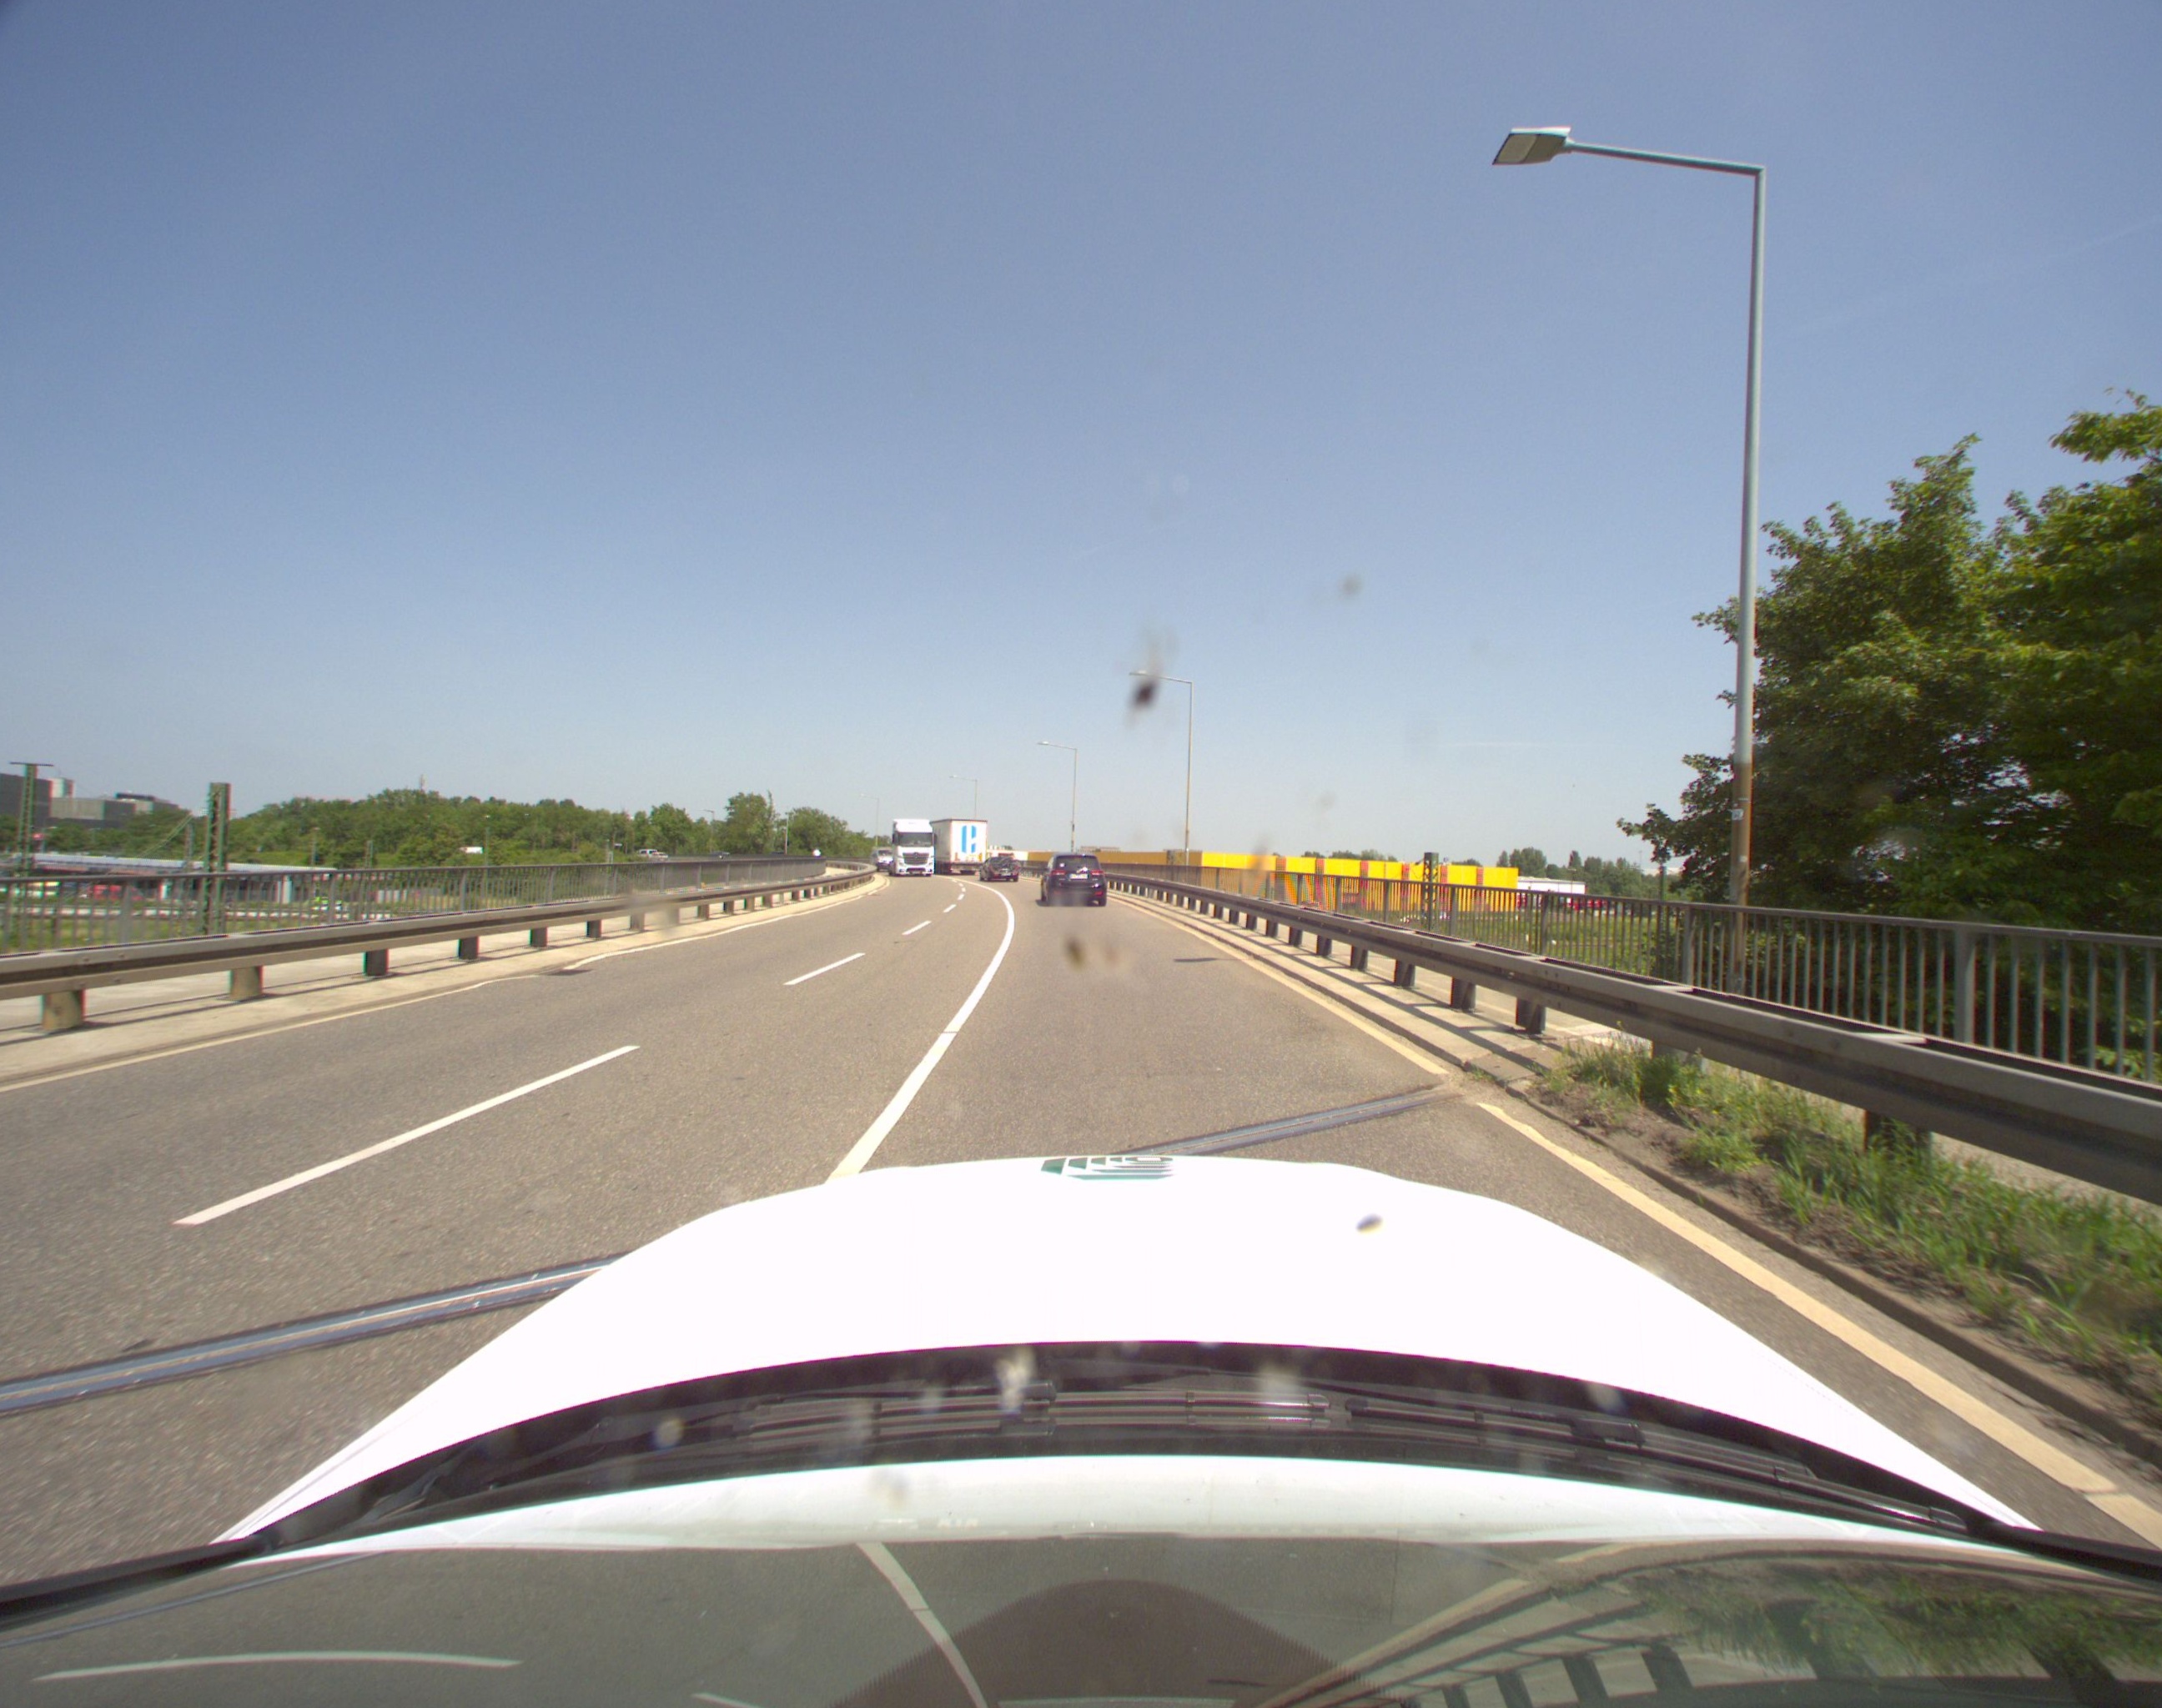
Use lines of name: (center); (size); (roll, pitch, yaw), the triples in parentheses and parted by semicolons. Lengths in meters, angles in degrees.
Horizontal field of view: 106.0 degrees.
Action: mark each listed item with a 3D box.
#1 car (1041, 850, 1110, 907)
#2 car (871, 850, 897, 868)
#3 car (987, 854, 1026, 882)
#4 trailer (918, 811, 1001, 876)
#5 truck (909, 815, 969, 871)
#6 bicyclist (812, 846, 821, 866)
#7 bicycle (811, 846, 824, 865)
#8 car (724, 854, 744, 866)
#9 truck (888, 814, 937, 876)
car: (-0.232, 0.675, 24.882); (1.916, 1.574, 3.888); (1, 0, -2)
car: (-16.166, 0.419, 66.746); (1.565, 1.386, 3.589); (1, 0, -21)
car: (-4.126, 0.747, 45.486); (2.007, 1.429, 3.772); (1, 0, -3)
trailer: (-9.427, -0.765, 61.644); (3.584, 4.384, 11.357); (1, 0, -22)
truck: (-11.854, -0.885, 67.536); (3.586, 4.441, 6.468); (1, 0, -22)
bicyclist: (-25.135, 0.207, 77.416); (0.628, 1.886, 0.705); (1, 0, -30)
bicycle: (-24.901, 0.140, 76.941); (0.702, 1.801, 2.160); (1, 0, -30)
car: (-52.356, 0.900, 122.776); (1.689, 1.640, 3.726); (1, 0, -41)
truck: (-11.686, -0.581, 56.145); (2.712, 3.991, 6.150); (1, 0, -17)
